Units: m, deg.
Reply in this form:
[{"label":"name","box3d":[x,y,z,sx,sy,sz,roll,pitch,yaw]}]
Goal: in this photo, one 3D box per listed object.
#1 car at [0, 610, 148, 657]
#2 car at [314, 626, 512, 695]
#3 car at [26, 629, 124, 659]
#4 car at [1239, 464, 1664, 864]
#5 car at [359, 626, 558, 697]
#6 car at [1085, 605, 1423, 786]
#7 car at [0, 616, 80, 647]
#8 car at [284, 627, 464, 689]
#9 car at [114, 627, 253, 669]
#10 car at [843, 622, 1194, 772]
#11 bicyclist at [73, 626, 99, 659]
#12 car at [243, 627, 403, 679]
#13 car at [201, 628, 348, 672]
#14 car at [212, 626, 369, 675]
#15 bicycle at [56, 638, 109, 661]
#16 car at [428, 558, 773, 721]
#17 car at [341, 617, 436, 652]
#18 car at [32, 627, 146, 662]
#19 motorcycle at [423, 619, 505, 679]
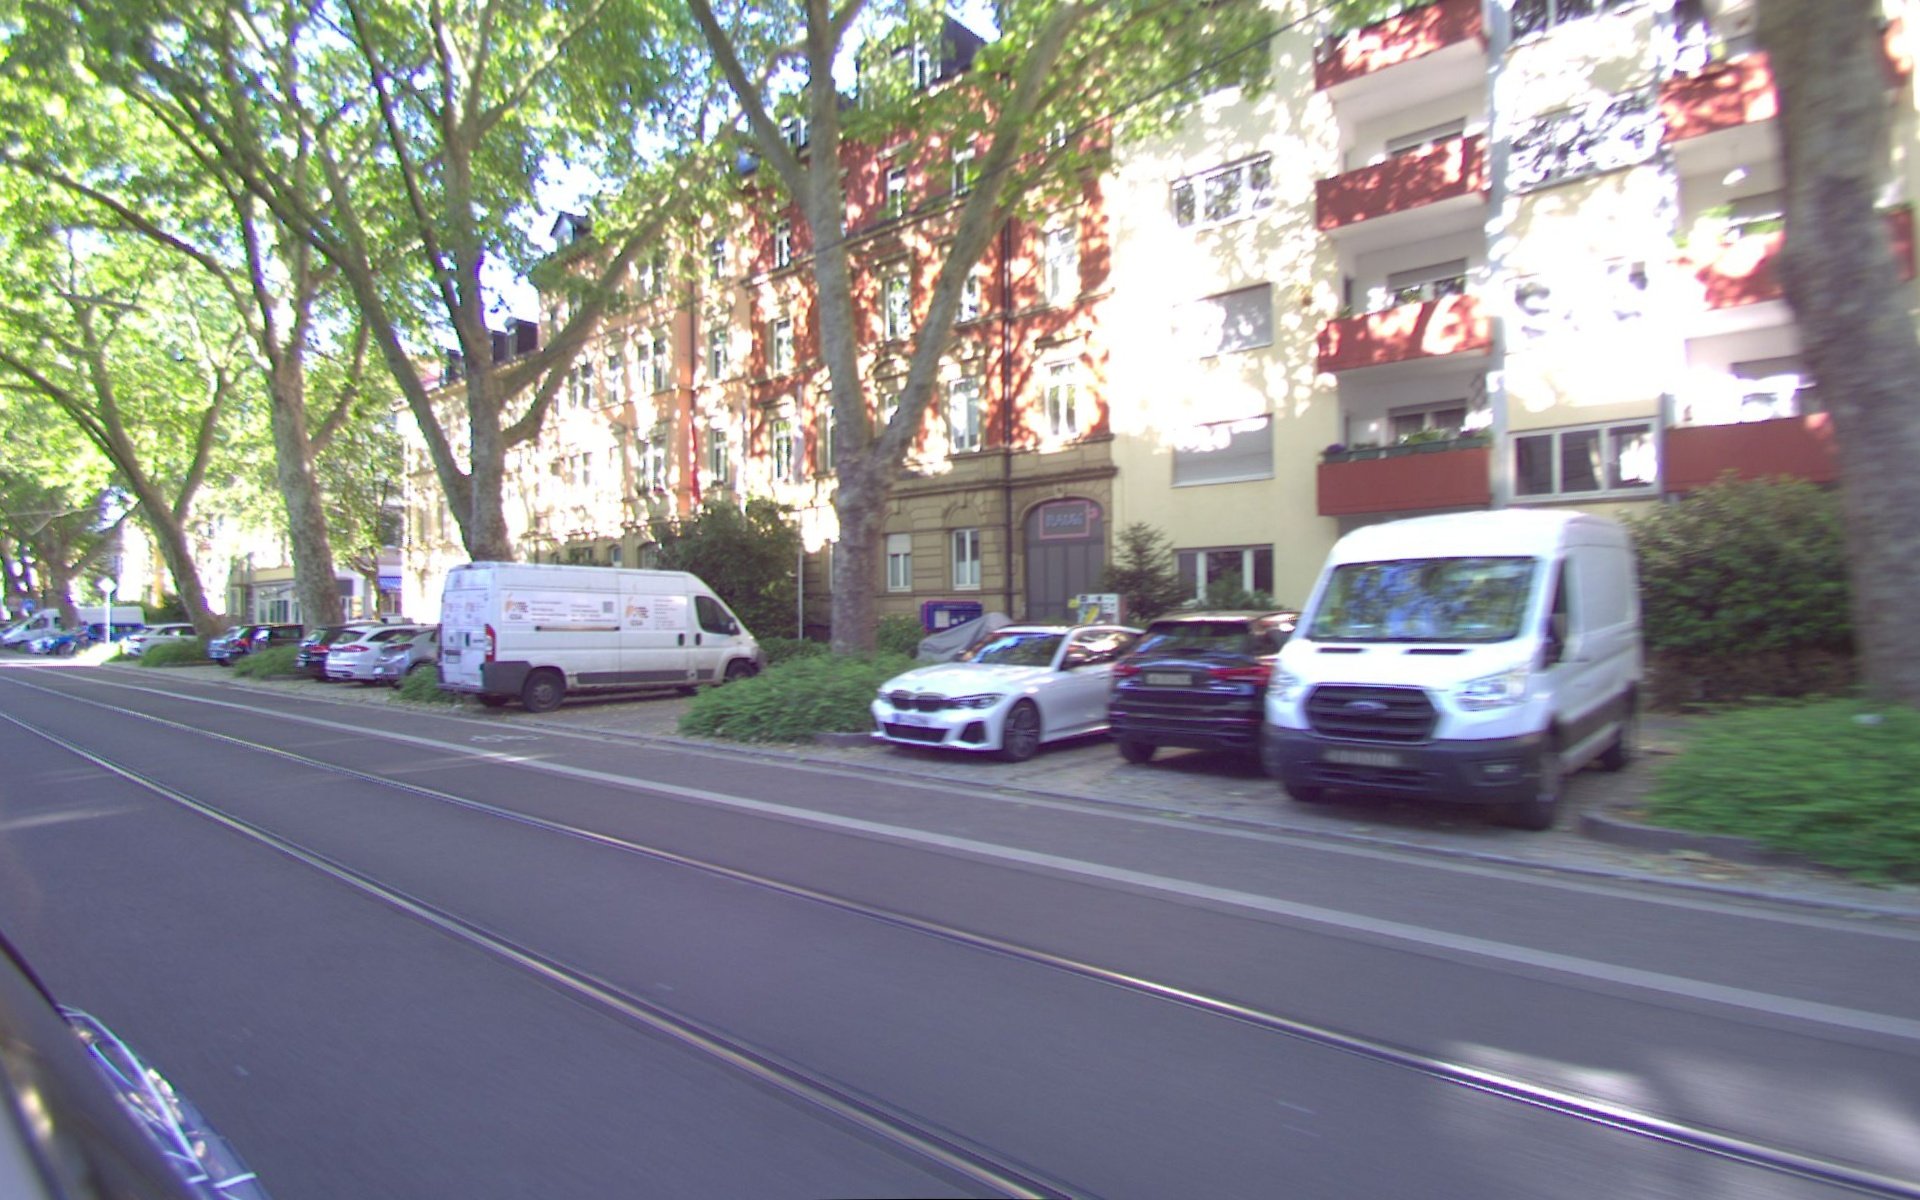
[{"label":"car","box3d":[-52.488,1.957,59.974,1.999,2.426,6.533,-2,0,41]},{"label":"car","box3d":[-13.428,1.427,25.010,1.829,1.507,3.945,-2,-2,41]},{"label":"car","box3d":[-47.634,2.337,54.530,1.745,1.529,3.733,-1,-1,38]},{"label":"car","box3d":[4.647,0.440,9.008,2.056,2.496,5.304,-2,-2,41]},{"label":"car","box3d":[-11.478,1.342,23.331,1.704,1.443,3.767,-2,-1,43]},{"label":"car","box3d":[3.342,0.840,10.922,1.871,1.550,4.325,-2,-1,41]},{"label":"car","box3d":[-63.506,2.173,69.416,1.923,1.922,4.575,-2,0,44]},{"label":"car","box3d":[-15.287,1.452,26.545,1.704,1.471,3.753,-2,-2,42]},{"label":"car","box3d":[-29.667,1.788,38.743,1.877,1.471,3.946,-1,-2,40]},{"label":"car","box3d":[0.875,0.990,12.070,1.932,1.395,4.364,-1,-1,41]},{"label":"bicyclist","box3d":[-41.331,2.009,47.841,0.737,1.538,0.856,-2,-2,45]},{"label":"car","box3d":[-19.780,1.589,31.530,1.704,1.471,3.943,-2,-2,43]},{"label":"car","box3d":[-23.713,1.685,35.137,1.602,1.379,3.952,-1,-1,35]},{"label":"car","box3d":[-21.905,1.614,33.239,1.764,1.471,3.957,-1,-1,32]},{"label":"bicycle","box3d":[-41.405,2.337,47.754,0.629,1.039,1.849,-2,-2,45]},{"label":"car","box3d":[-6.404,0.636,18.701,2.161,2.555,5.681,-2,-1,41]},{"label":"car","box3d":[-33.609,2.011,59.561,4.515,1.894,2.132,1,1,-41]},{"label":"car","box3d":[-45.816,2.285,53.289,1.814,1.725,4.278,-1,-1,37]},{"label":"motorcycle","box3d":[-14.516,1.393,29.559,3.010,1.643,1.041,-1,1,41]}]
